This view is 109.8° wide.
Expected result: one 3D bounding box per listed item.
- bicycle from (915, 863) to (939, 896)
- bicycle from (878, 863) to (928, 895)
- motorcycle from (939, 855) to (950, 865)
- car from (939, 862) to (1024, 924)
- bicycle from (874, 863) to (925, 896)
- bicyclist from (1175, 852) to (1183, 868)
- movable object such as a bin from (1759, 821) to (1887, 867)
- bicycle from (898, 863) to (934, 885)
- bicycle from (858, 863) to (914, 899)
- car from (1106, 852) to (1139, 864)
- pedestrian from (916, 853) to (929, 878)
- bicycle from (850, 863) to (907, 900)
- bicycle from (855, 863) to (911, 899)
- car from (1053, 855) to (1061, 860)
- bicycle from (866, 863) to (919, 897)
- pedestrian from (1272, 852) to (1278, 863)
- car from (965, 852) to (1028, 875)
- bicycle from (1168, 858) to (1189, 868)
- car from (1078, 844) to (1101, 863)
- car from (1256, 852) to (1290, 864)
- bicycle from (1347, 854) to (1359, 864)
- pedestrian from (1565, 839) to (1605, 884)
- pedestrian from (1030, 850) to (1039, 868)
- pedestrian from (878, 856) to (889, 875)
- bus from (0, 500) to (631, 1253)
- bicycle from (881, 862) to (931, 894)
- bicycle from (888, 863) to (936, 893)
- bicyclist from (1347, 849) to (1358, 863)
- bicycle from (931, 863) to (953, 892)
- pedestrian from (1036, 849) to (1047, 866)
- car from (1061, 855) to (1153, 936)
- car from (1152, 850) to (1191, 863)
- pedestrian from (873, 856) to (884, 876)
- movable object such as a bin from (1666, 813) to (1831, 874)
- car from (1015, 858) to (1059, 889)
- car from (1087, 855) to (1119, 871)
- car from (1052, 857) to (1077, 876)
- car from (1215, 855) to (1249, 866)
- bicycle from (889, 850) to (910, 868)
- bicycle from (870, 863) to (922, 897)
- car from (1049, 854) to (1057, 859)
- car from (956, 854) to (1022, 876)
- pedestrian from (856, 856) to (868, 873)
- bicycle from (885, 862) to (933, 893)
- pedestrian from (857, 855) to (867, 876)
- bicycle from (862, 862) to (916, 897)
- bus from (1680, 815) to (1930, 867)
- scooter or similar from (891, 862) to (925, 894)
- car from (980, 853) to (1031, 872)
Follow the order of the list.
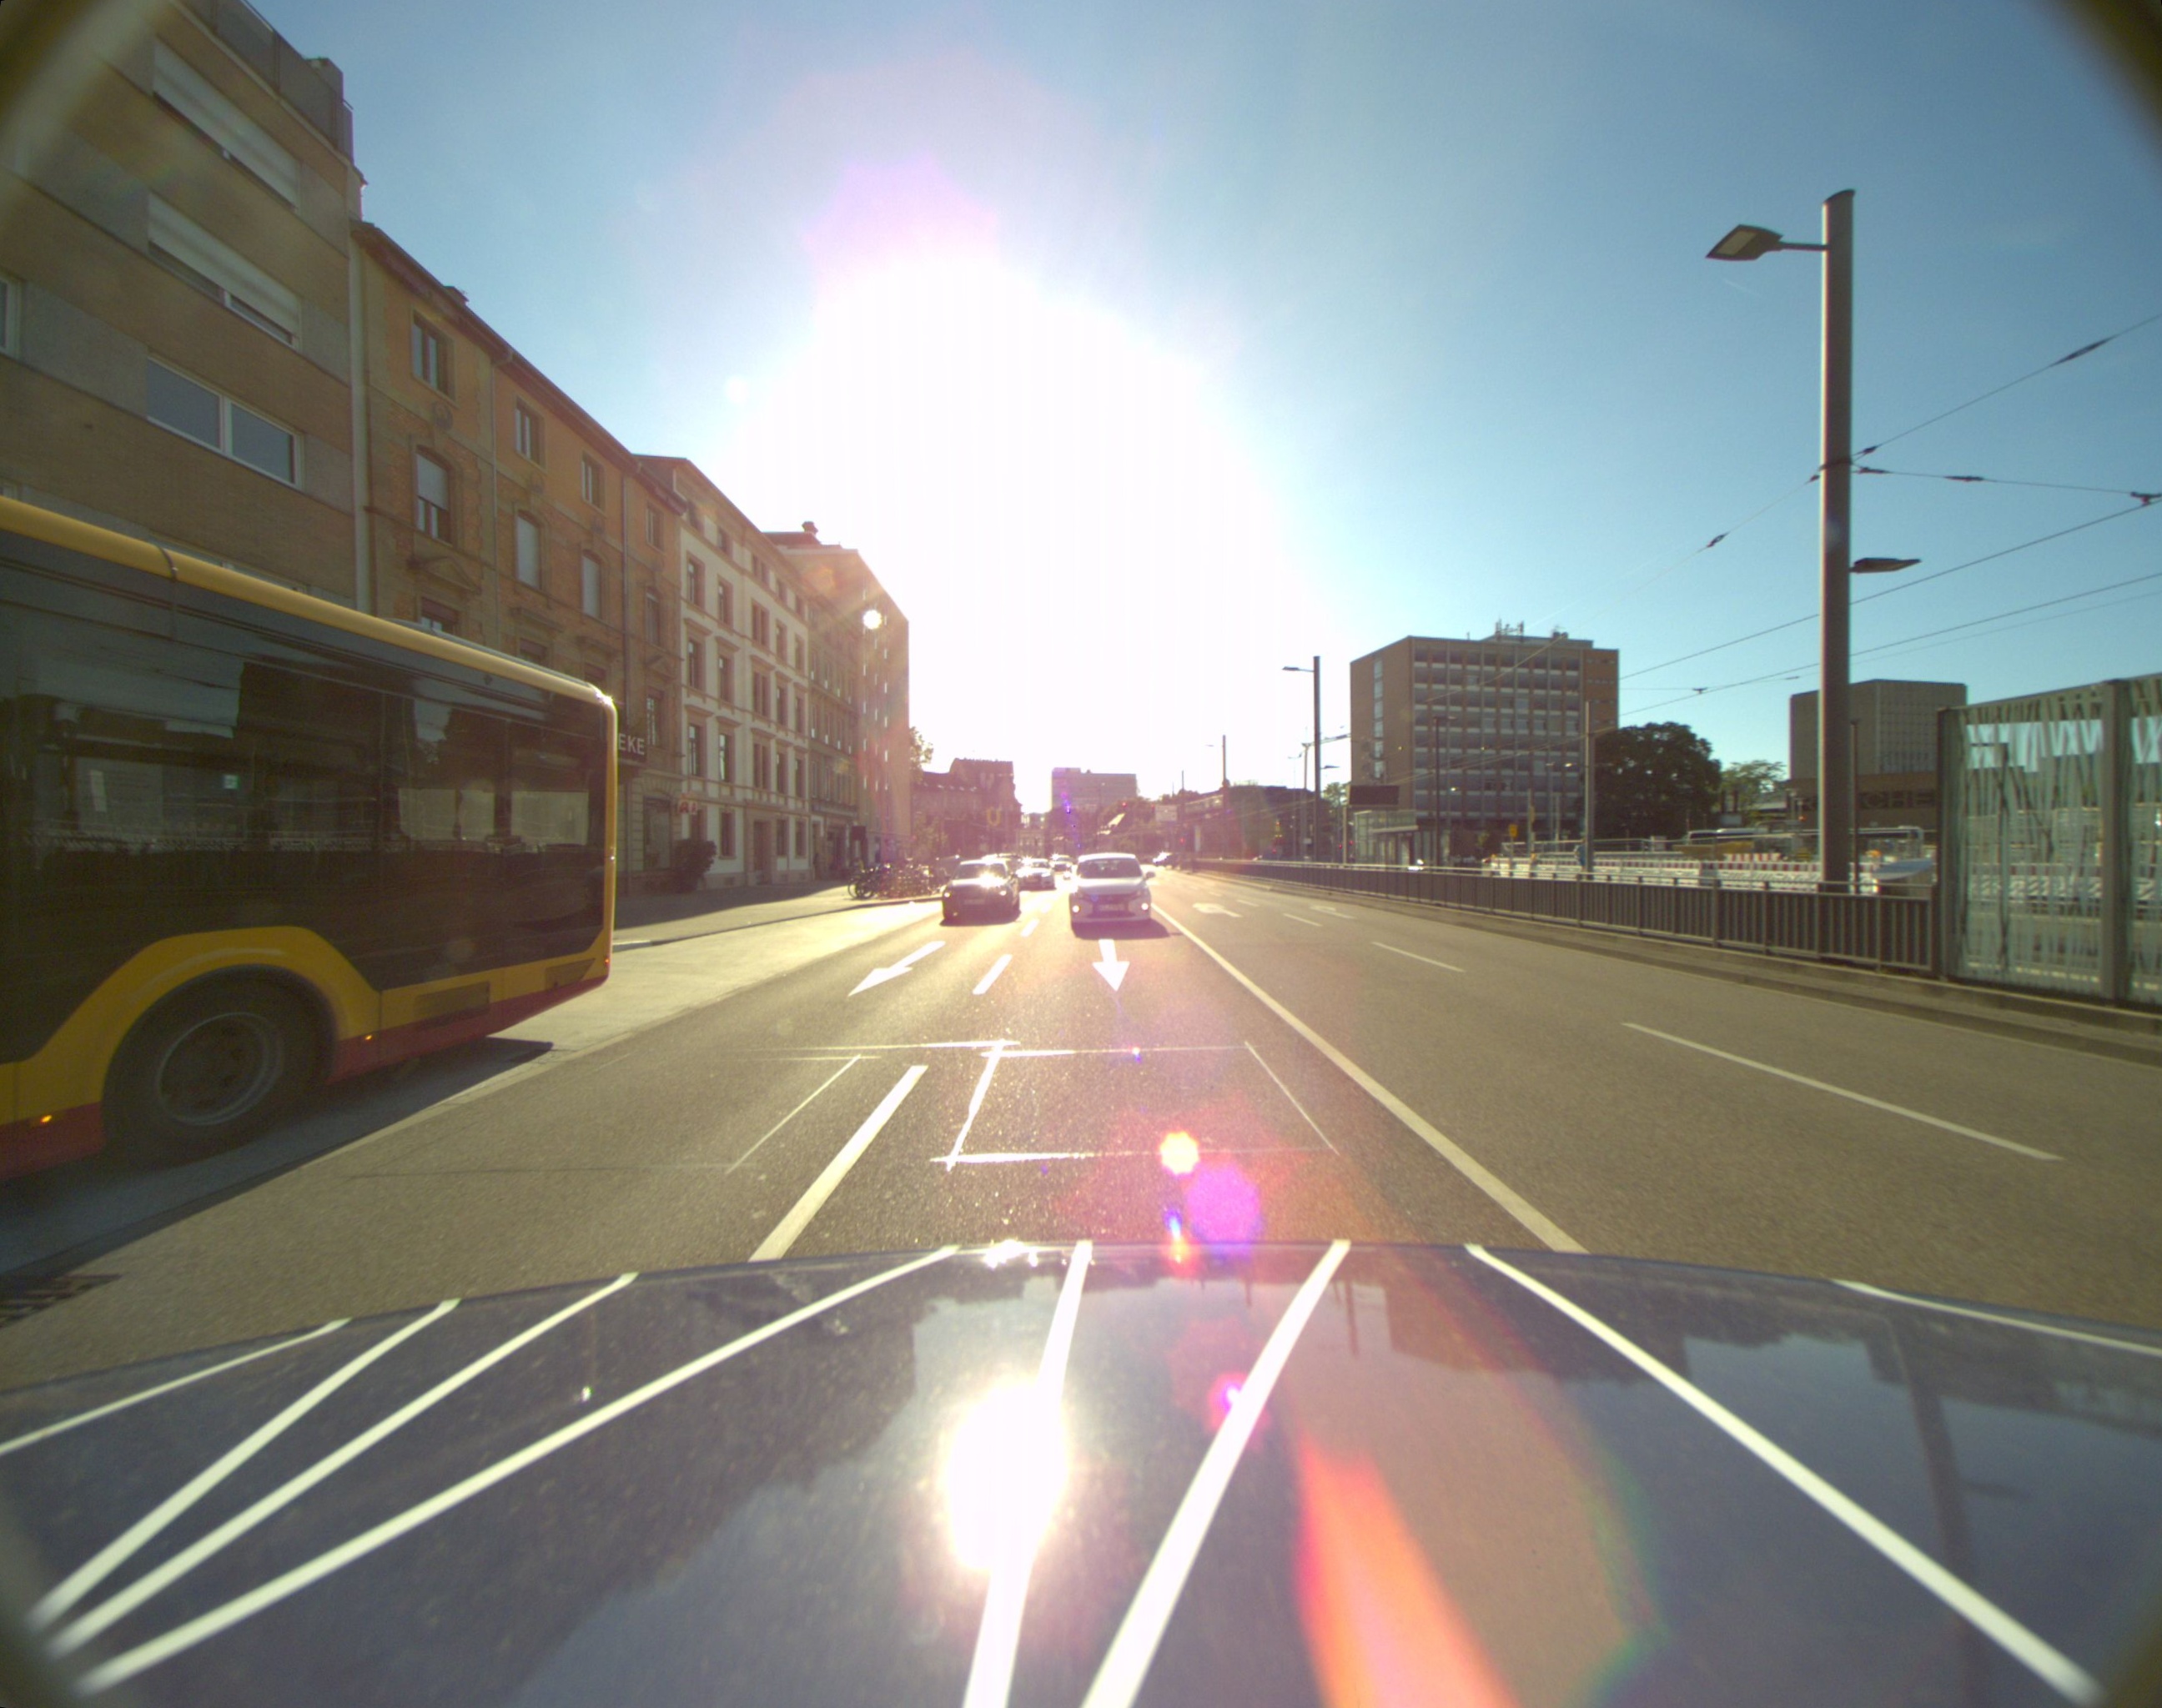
[{"bbox_3d":[-5.630,0.915,27.849,0.470,1.140,1.771,-1,0,1],"label":"bicycle"},{"bbox_3d":[-6.751,0.931,28.817,1.769,1.180,0.470,-1,0,0],"label":"bicycle"},{"bbox_3d":[-14.371,0.605,79.811,0.880,1.040,1.803,1,1,-1],"label":"motorcycle"},{"bbox_3d":[-2.485,0.945,19.824,1.694,1.380,3.831,-2,0,-1],"label":"car"},{"bbox_3d":[-6.756,0.943,28.310,1.769,1.180,0.470,-1,0,0],"label":"bicycle"},{"bbox_3d":[9.519,0.576,73.758,0.676,1.607,0.815,1,1,-4],"label":"bicyclist"},{"bbox_3d":[28.734,-0.344,29.594,1.176,1.577,3.866,1,-2,0],"label":"movable object such as a bin"},{"bbox_3d":[-8.564,1.040,39.478,1.773,1.083,0.469,2,-1,-28],"label":"bicycle"},{"bbox_3d":[-6.742,0.929,26.290,1.796,1.180,0.470,-1,0,0],"label":"bicycle"},{"bbox_3d":[6.406,0.621,116.793,4.695,1.673,2.004,-1,-2,24],"label":"car"},{"bbox_3d":[-12.132,0.860,58.156,0.754,1.855,0.830,-1,1,-29],"label":"pedestrian"},{"bbox_3d":[-6.736,0.911,25.292,1.769,1.180,0.470,-1,0,0],"label":"bicycle"},{"bbox_3d":[-6.712,0.912,25.787,1.769,1.180,0.470,-1,0,0],"label":"bicycle"},{"bbox_3d":[-7.783,1.175,245.732,1.757,1.455,4.016,-1,-1,-12],"label":"car"},{"bbox_3d":[-6.765,0.930,27.287,1.769,1.180,0.470,-1,0,0],"label":"bicycle"},{"bbox_3d":[30.522,0.513,119.693,0.620,1.730,0.667,1,3,43],"label":"pedestrian"},{"bbox_3d":[-6.243,0.713,56.350,4.259,1.561,1.955,-2,0,-43],"label":"car"},{"bbox_3d":[9.474,0.831,73.760,1.894,0.936,0.815,1,1,-4],"label":"bicycle"},{"bbox_3d":[0.725,-0.056,70.485,1.999,1.666,4.282,-1,0,-1],"label":"car"},{"bbox_3d":[27.524,0.536,109.020,4.698,1.673,2.003,0,-2,16],"label":"car"},{"bbox_3d":[29.842,0.530,83.282,0.814,0.936,2.005,-7,0,30],"label":"bicycle"},{"bbox_3d":[20.041,0.310,30.223,0.804,1.757,1.180,1,-2,1],"label":"pedestrian"},{"bbox_3d":[-4.441,0.457,72.531,0.698,1.718,0.752,-1,1,-15],"label":"pedestrian"},{"bbox_3d":[-13.502,0.790,51.902,0.516,1.311,0.592,-1,1,8],"label":"pedestrian"},{"bbox_3d":[-5.928,0.095,1.306,2.722,3.162,12.540,1,0,1],"label":"bus"},{"bbox_3d":[-6.742,0.935,29.317,1.769,1.180,0.470,-1,0,0],"label":"bicycle"},{"bbox_3d":[-6.737,0.956,30.318,1.769,1.171,0.470,-1,0,0],"label":"bicycle"},{"bbox_3d":[29.791,0.222,83.279,0.814,1.337,0.903,-7,0,30],"label":"bicyclist"},{"bbox_3d":[-5.599,0.935,30.560,0.470,1.140,1.767,-1,0,-22],"label":"bicycle"},{"bbox_3d":[-3.966,0.331,75.919,0.796,1.718,0.868,-1,1,-31],"label":"pedestrian"},{"bbox_3d":[0.652,0.801,16.481,1.720,1.483,3.871,-2,0,5],"label":"car"},{"bbox_3d":[11.796,0.320,99.005,4.623,1.679,1.996,-1,1,-23],"label":"car"},{"bbox_3d":[-13.626,0.828,51.168,0.516,1.311,0.592,-1,1,8],"label":"pedestrian"},{"bbox_3d":[30.874,-0.387,35.413,2.637,2.510,5.164,1,-2,-17],"label":"movable object such as a bin"},{"bbox_3d":[-2.047,0.884,36.589,1.825,1.380,4.457,-1,0,0],"label":"car"},{"bbox_3d":[2.548,0.993,86.957,1.995,1.666,4.291,0,1,28],"label":"car"},{"bbox_3d":[-1.343,1.001,62.537,1.783,1.455,3.915,0,1,3],"label":"car"},{"bbox_3d":[22.702,1.007,114.237,4.696,1.673,2.004,0,-2,20],"label":"car"},{"bbox_3d":[-14.063,0.394,58.831,0.932,1.348,2.230,0,-2,4],"label":"bicycle"},{"bbox_3d":[-6.758,0.939,27.790,1.769,1.180,0.470,-1,0,0],"label":"bicycle"},{"bbox_3d":[-9.400,0.726,254.848,1.757,1.455,4.016,-1,-1,-12],"label":"car"},{"bbox_3d":[-6.367,0.741,52.688,4.121,1.455,1.956,-1,1,-41],"label":"car"},{"bbox_3d":[-14.780,0.721,51.281,0.516,1.153,0.592,-1,1,8],"label":"pedestrian"},{"bbox_3d":[-6.748,0.936,29.816,1.769,1.171,0.470,-1,0,0],"label":"bicycle"},{"bbox_3d":[-13.930,0.728,48.301,0.516,1.311,0.591,-1,1,-6],"label":"pedestrian"},{"bbox_3d":[-6.755,0.907,26.781,1.769,1.180,0.470,-1,0,0],"label":"bicycle"},{"bbox_3d":[50.891,-0.747,54.184,12.625,3.174,2.848,-2,-3,44],"label":"bus"},{"bbox_3d":[-7.076,0.965,31.093,1.210,1.209,0.641,-2,2,-26],"label":"scooter or similar"},{"bbox_3d":[-6.245,0.700,63.150,3.900,1.391,1.784,-3,1,-43],"label":"car"}]
